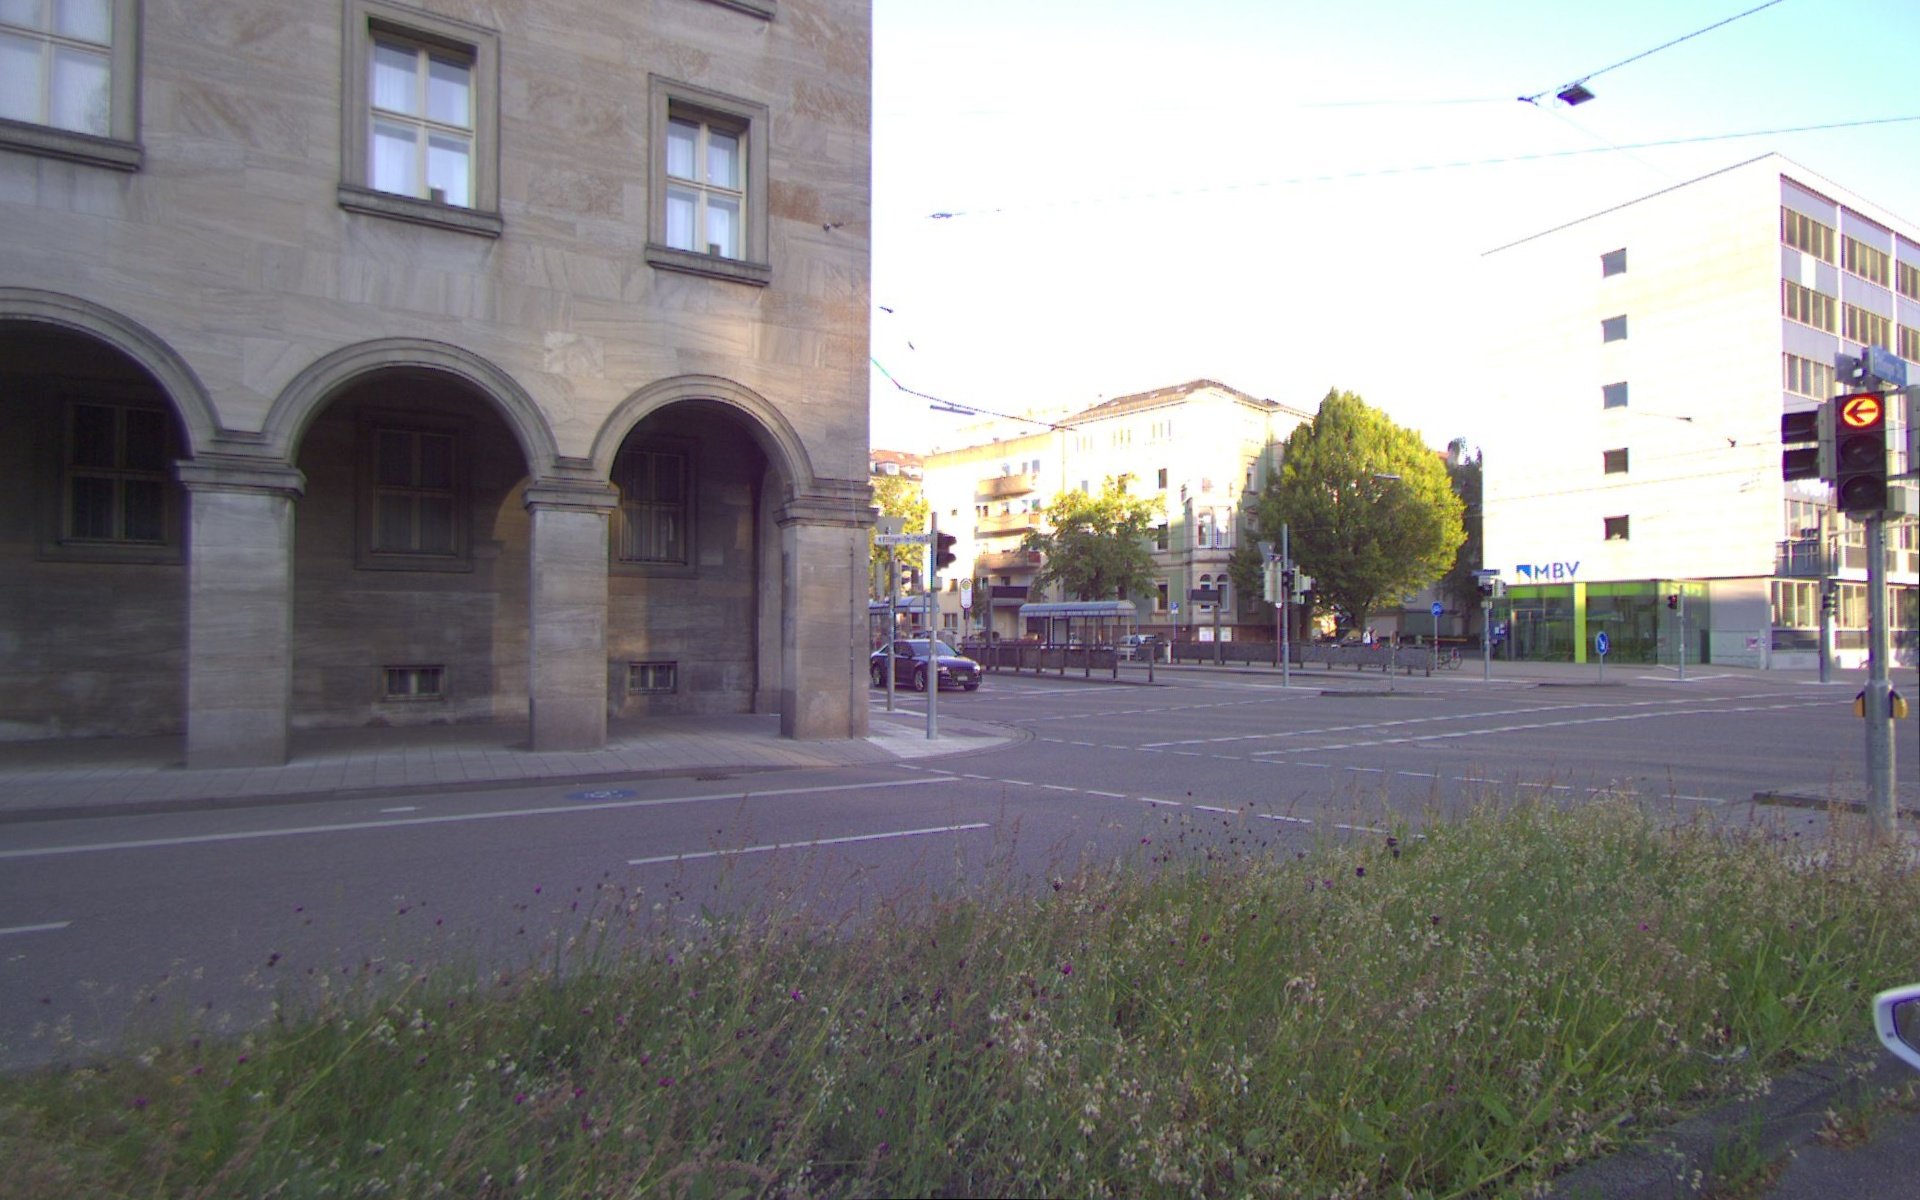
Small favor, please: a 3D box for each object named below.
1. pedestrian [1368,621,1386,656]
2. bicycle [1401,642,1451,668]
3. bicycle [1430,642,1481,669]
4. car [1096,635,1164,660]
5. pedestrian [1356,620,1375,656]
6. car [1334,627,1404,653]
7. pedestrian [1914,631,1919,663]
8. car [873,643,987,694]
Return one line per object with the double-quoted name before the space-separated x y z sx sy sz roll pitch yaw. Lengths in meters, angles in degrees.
"pedestrian" 21.753 1.994 52.380 0.718 1.813 0.634 2 -2 -43
"bicycle" 20.693 2.418 44.569 2.183 1.127 0.834 1 -2 -26
"bicycle" 21.565 2.390 43.674 2.183 1.127 0.834 1 -2 -26
"car" 10.009 2.774 59.209 3.545 1.390 1.830 -2 -3 45
"pedestrian" 21.015 1.969 52.067 0.718 1.813 0.634 2 -2 -44
"car" 22.449 2.195 55.177 3.553 1.390 1.826 1 -2 -32
"pedestrian" 51.509 2.498 53.736 0.494 1.701 0.549 1 -2 -30
"car" -0.957 1.963 29.719 1.791 1.344 4.120 1 -2 -27
